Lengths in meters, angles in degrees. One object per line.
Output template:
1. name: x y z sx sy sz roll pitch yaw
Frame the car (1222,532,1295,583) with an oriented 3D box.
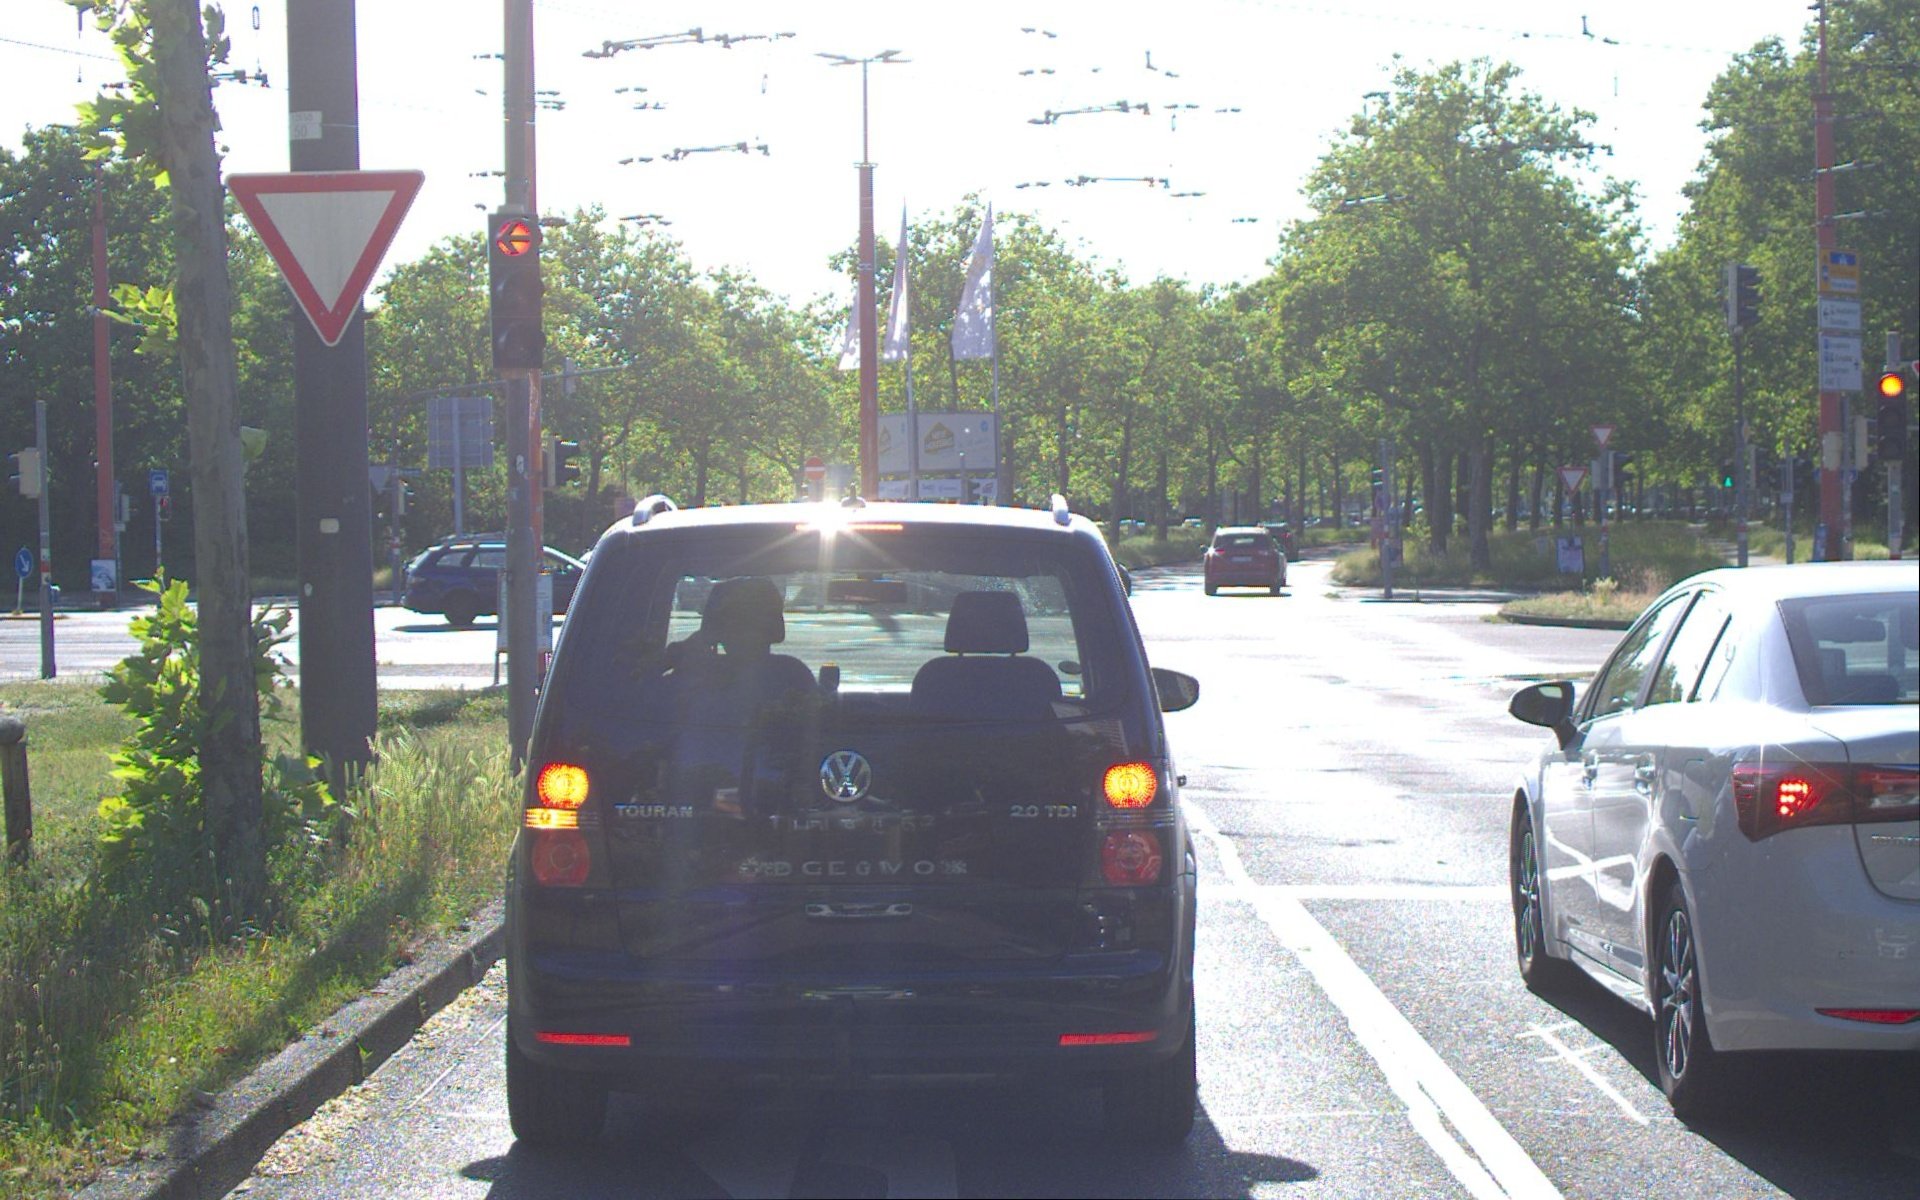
1. car: 8.736 -1.251 100.459 1.908 1.459 4.222 0 1 8

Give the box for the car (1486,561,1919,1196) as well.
1. car: 2.692 0.627 10.075 1.715 1.449 4.144 0 1 1

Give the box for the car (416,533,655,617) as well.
1. car: -7.686 -0.464 62.069 4.225 1.459 1.915 0 1 -9

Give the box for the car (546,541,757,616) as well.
1. car: -6.155 -0.437 68.873 4.042 1.459 1.914 0 1 0

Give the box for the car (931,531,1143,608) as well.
1. car: 1.551 -0.623 67.902 4.045 1.459 1.913 -1 1 -45

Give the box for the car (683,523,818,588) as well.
1. car: -5.546 -1.198 91.704 1.995 1.679 4.825 0 1 17

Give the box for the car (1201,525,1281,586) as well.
1. car: 6.977 -1.127 85.254 1.908 1.459 4.373 0 1 5

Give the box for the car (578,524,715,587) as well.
1. car: -8.455 -1.218 93.282 1.995 1.679 4.825 0 1 17

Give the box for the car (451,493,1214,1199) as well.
1. car: -0.312 0.544 9.875 1.737 1.635 4.000 0 1 -1
